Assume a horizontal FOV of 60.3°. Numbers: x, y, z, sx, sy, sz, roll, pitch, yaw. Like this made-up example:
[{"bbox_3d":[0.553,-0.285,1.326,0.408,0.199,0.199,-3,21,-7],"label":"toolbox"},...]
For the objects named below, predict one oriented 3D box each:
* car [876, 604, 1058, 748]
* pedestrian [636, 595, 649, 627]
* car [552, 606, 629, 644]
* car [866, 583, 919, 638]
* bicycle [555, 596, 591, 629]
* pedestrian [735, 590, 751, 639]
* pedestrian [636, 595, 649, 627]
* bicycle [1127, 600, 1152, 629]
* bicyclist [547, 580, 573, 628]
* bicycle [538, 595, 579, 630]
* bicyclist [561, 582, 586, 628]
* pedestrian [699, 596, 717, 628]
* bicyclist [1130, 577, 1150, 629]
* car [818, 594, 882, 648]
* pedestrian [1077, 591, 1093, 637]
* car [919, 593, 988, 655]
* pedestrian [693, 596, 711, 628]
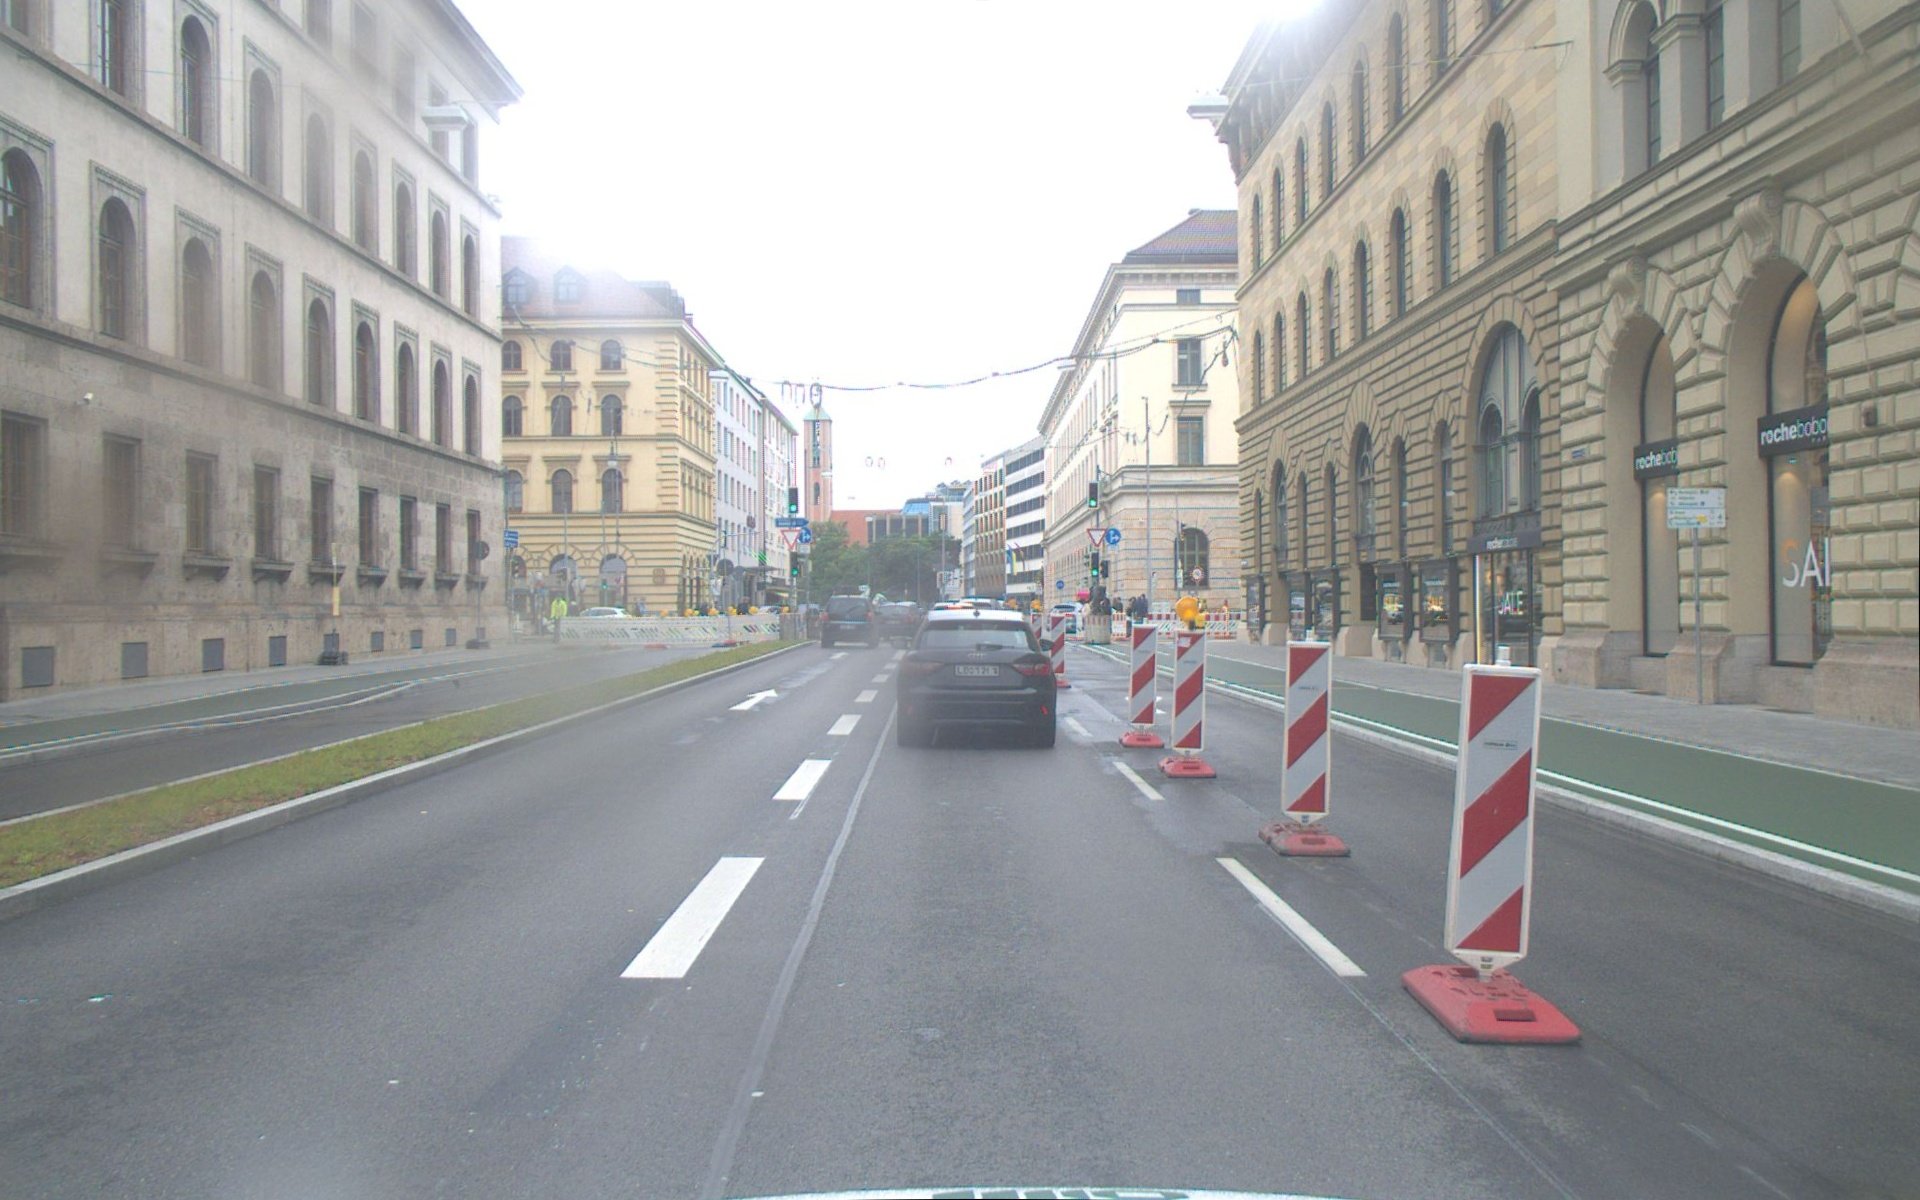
[{"bbox_3d":[0.044,0.770,18.612,1.825,1.412,3.999,0,0,-1],"label":"car"},{"bbox_3d":[-17.999,0.639,93.727,0.720,1.803,0.737,1,0,-11],"label":"pedestrian"},{"bbox_3d":[-18.642,1.249,83.532,3.672,1.830,1.864,-1,0,-10],"label":"car"},{"bbox_3d":[-2.586,0.407,64.030,1.953,2.049,3.999,0,0,-1],"label":"car"},{"bbox_3d":[-15.247,0.496,65.204,0.770,1.264,2.200,1,0,4],"label":"bicycle"},{"bbox_3d":[-7.930,0.512,60.423,0.503,1.773,1.041,0,0,-10],"label":"pedestrian"},{"bbox_3d":[-18.129,0.638,94.481,0.720,1.803,0.737,1,0,-11],"label":"pedestrian"},{"bbox_3d":[6.632,0.534,61.214,0.573,1.029,1.654,1,0,-6],"label":"bicycle"},{"bbox_3d":[-14.963,0.155,61.865,0.781,1.779,0.689,1,0,3],"label":"bicyclist"},{"bbox_3d":[-14.975,0.455,61.749,0.770,1.264,2.450,1,0,4],"label":"bicycle"},{"bbox_3d":[-15.236,0.199,65.280,0.781,1.807,0.689,1,0,3],"label":"bicyclist"},{"bbox_3d":[-14.518,0.679,95.328,0.718,1.803,0.739,0,0,20],"label":"pedestrian"},{"bbox_3d":[6.643,0.102,61.159,0.555,1.886,0.798,1,0,-6],"label":"bicyclist"},{"bbox_3d":[-3.454,0.640,52.480,1.827,1.629,3.850,-1,0,-1],"label":"car"},{"bbox_3d":[4.522,0.511,59.848,0.520,1.648,0.674,1,0,2],"label":"pedestrian"},{"bbox_3d":[-0.220,0.635,46.255,1.733,1.645,3.997,1,0,-3],"label":"car"},{"bbox_3d":[-14.775,0.704,94.575,0.718,1.803,0.761,0,0,20],"label":"pedestrian"}]
